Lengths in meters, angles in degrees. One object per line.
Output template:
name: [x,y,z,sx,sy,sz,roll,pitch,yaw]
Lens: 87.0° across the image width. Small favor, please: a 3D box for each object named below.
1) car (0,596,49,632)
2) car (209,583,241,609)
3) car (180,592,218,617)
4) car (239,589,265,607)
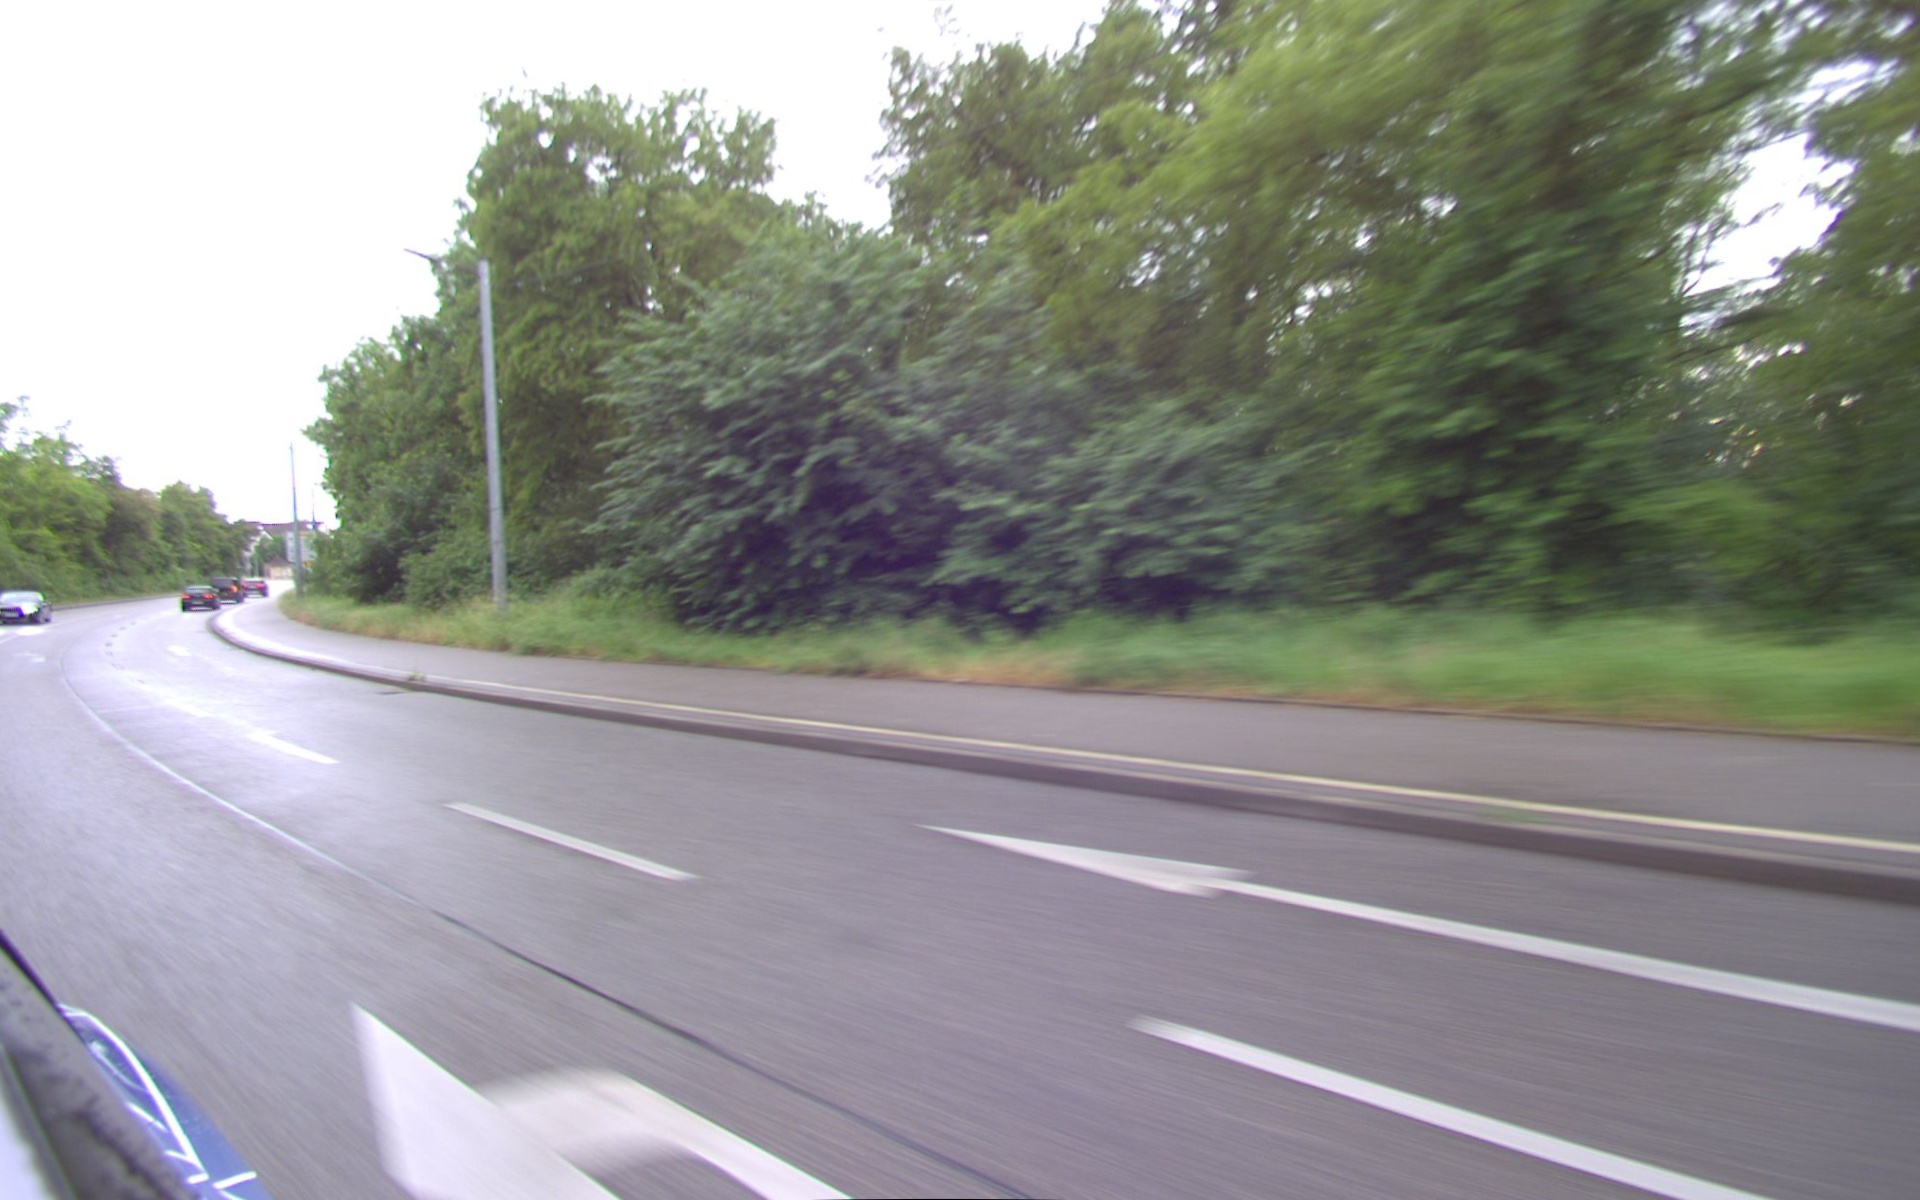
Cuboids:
car: [-42.446,0.628,45.464,1.803,1.532,4.009,3,-3,-36]
car: [-55.376,-0.272,76.237,1.803,1.857,4.722,3,-3,-36]
car: [-47.273,0.293,62.914,1.803,1.451,4.009,-3,1,-36]
car: [-65.251,-0.168,93.234,1.803,1.532,4.009,3,-3,-36]
